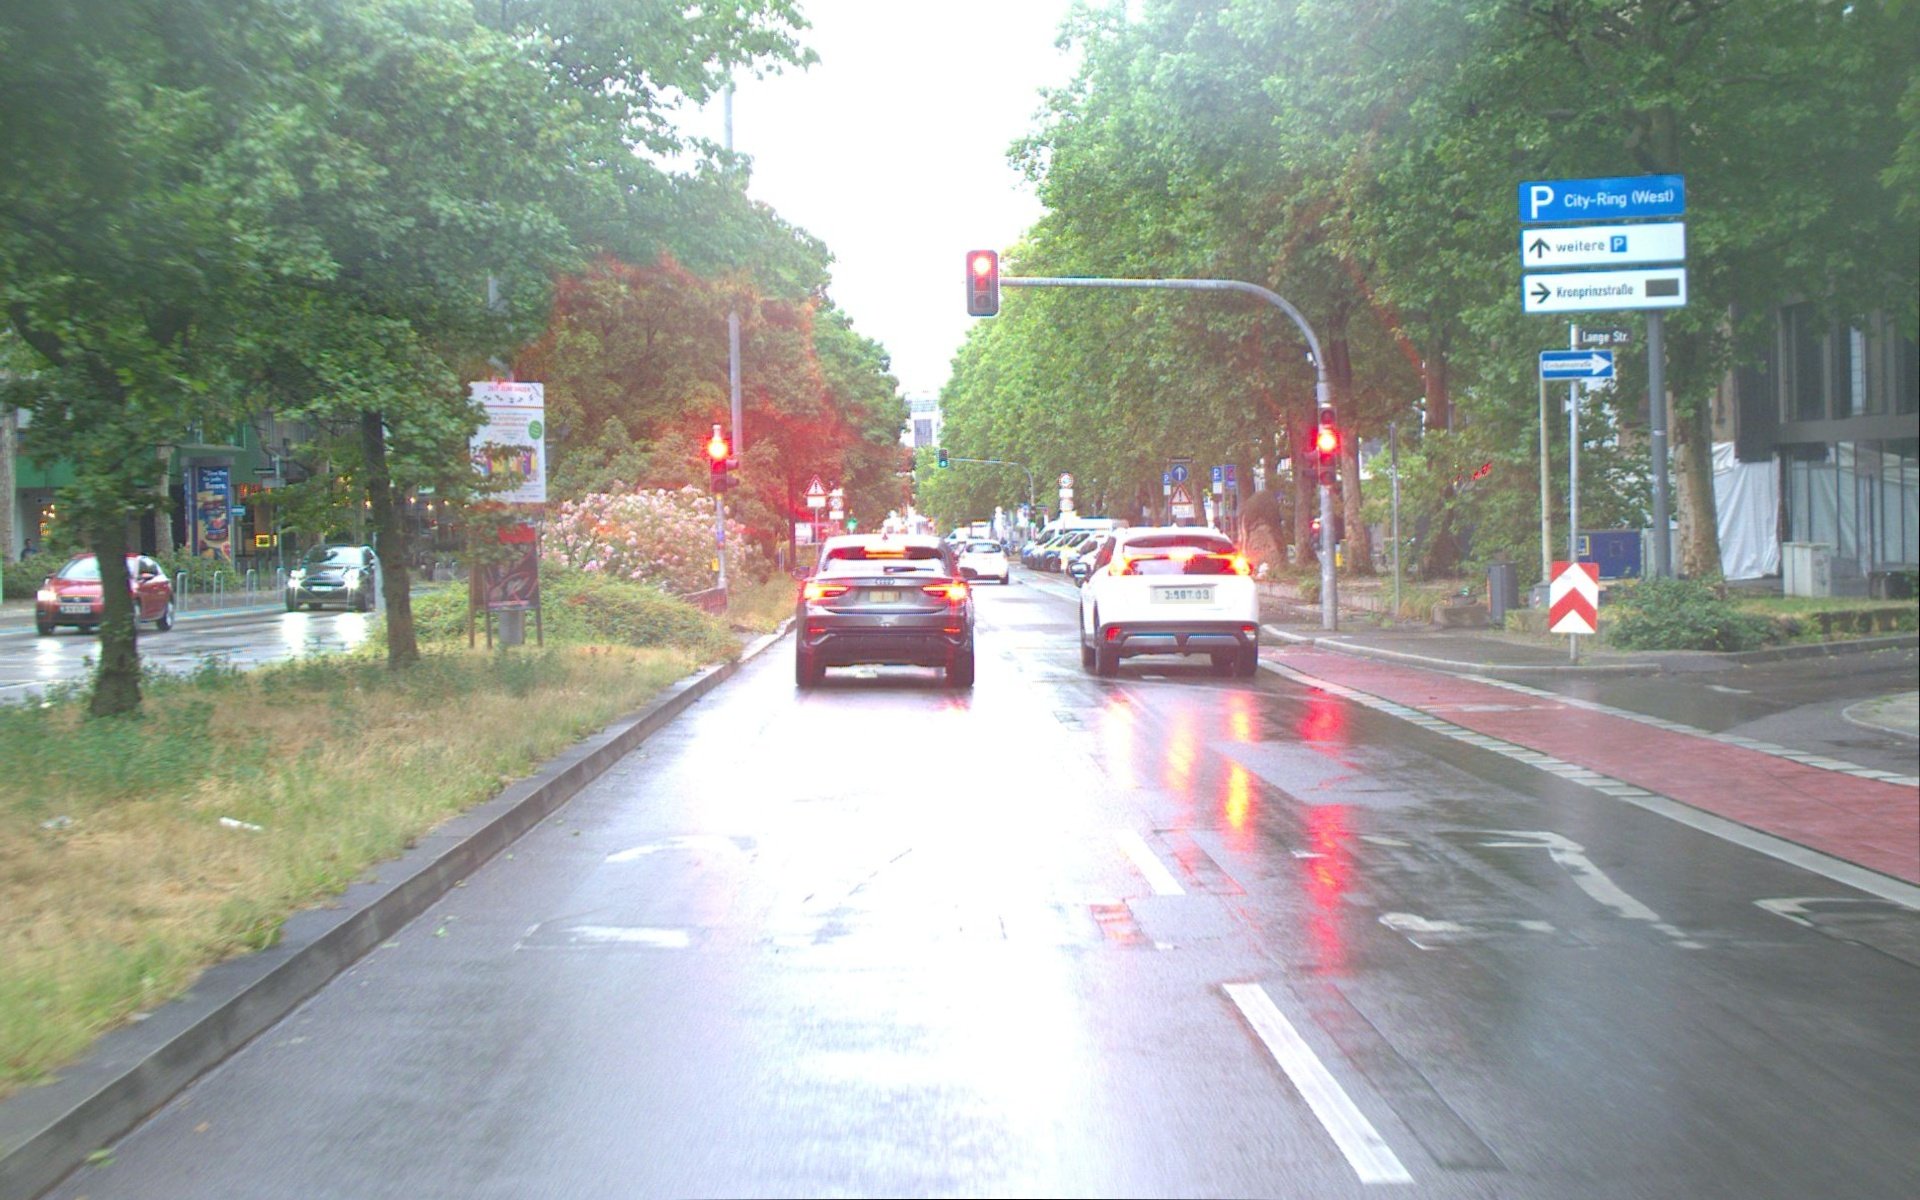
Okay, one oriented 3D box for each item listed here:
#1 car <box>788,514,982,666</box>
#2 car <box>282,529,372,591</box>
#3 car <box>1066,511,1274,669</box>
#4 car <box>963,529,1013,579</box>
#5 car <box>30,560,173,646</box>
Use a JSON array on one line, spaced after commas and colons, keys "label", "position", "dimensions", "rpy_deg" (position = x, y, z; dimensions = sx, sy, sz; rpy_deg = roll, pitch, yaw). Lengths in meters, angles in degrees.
[{"label": "car", "position": [-0.791, -0.152, 36.334], "dimensions": [1.918, 1.486, 4.001], "rpy_deg": [-1, 2, -1]}, {"label": "car", "position": [-15.513, -0.969, 84.407], "dimensions": [1.614, 1.389, 3.597], "rpy_deg": [0, -1, -1]}, {"label": "car", "position": [2.363, -0.171, 39.823], "dimensions": [1.993, 1.649, 4.889], "rpy_deg": [-1, 2, -1]}, {"label": "car", "position": [0.964, -1.626, 121.080], "dimensions": [1.620, 1.660, 4.001], "rpy_deg": [-1, 2, -1]}, {"label": "car", "position": [-15.604, 0.030, 62.676], "dimensions": [1.614, 1.389, 4.185], "rpy_deg": [-1, 2, -1]}]
